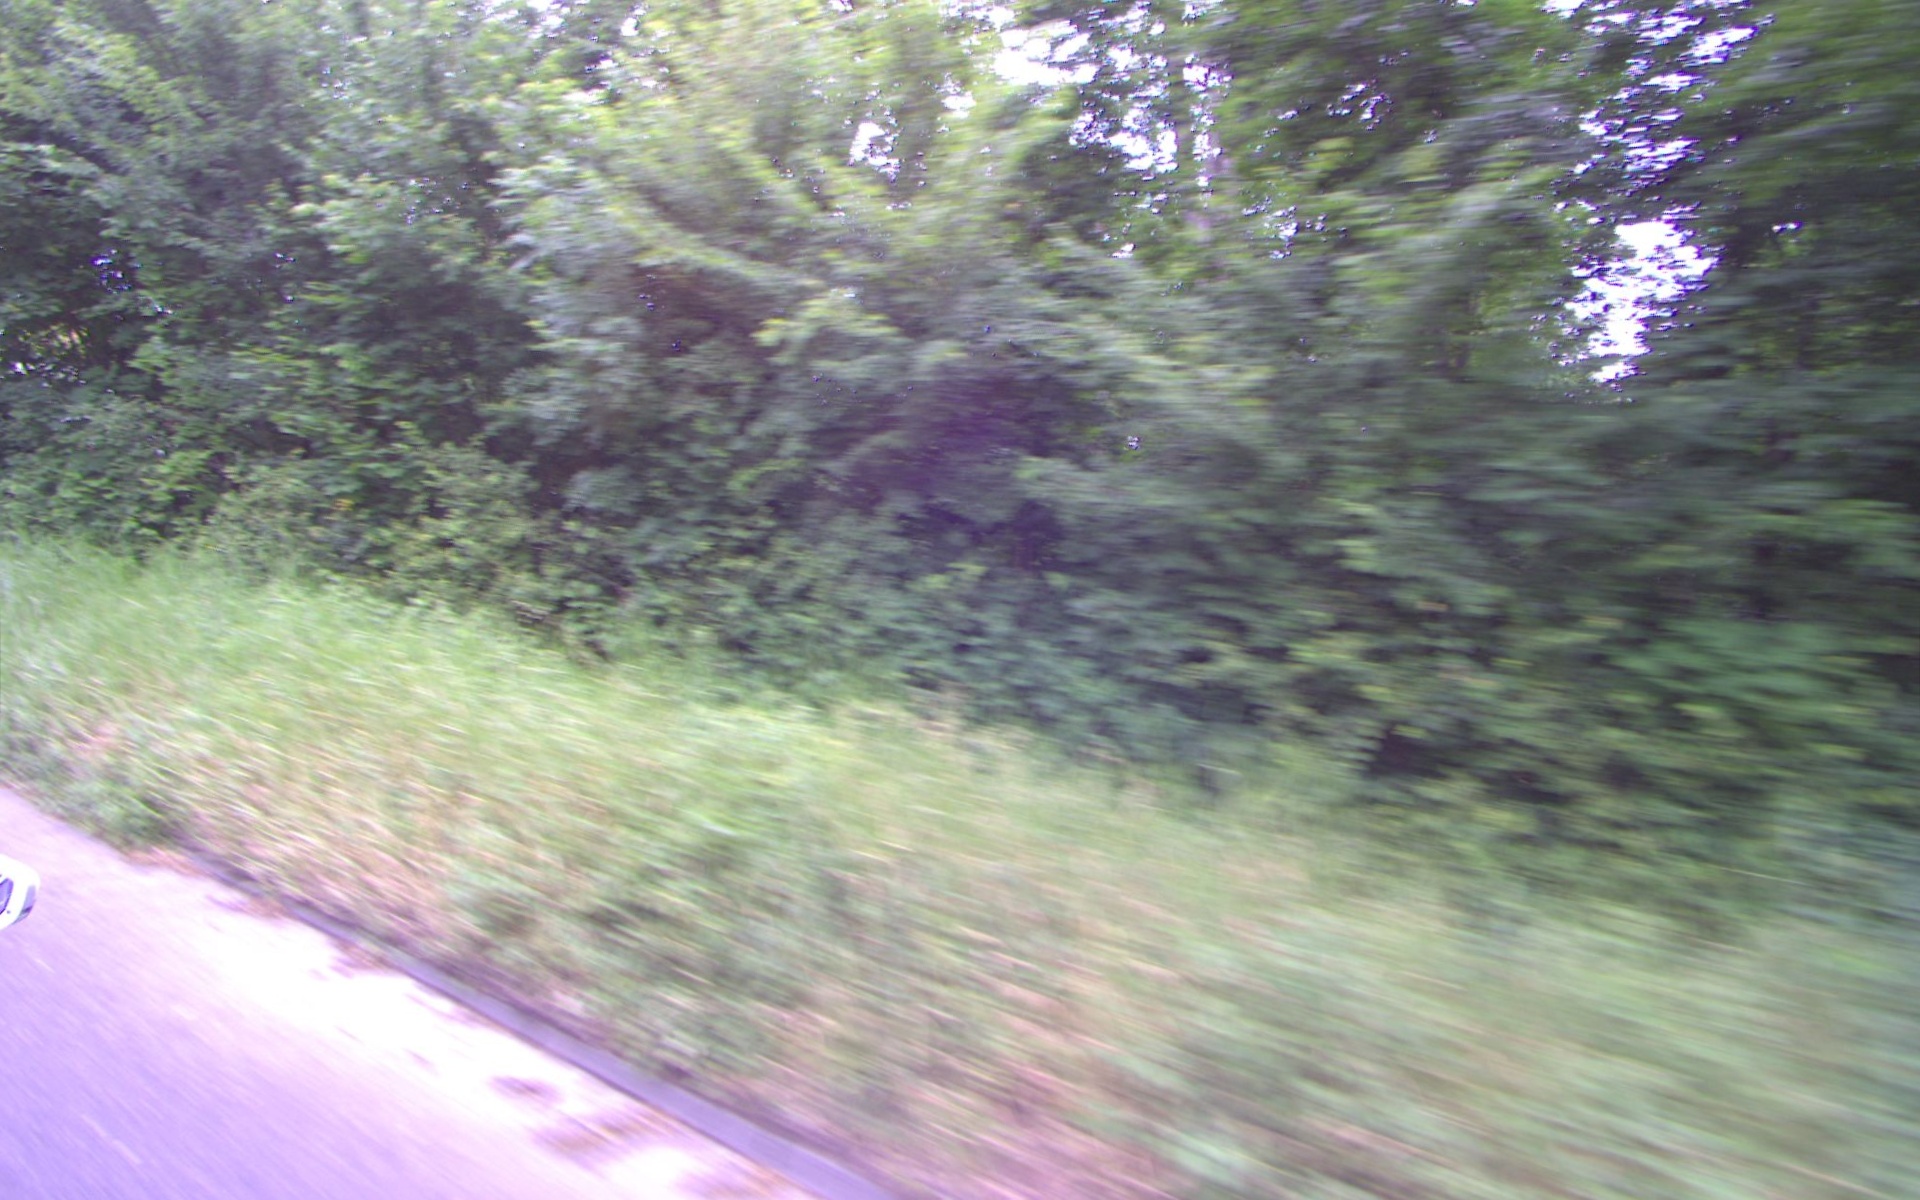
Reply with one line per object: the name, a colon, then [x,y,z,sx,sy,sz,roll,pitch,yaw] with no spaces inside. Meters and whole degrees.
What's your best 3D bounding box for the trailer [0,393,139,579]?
trailer: [-16.509,-2.016,17.297,1.564,2.935,3.125,7,0,23]
